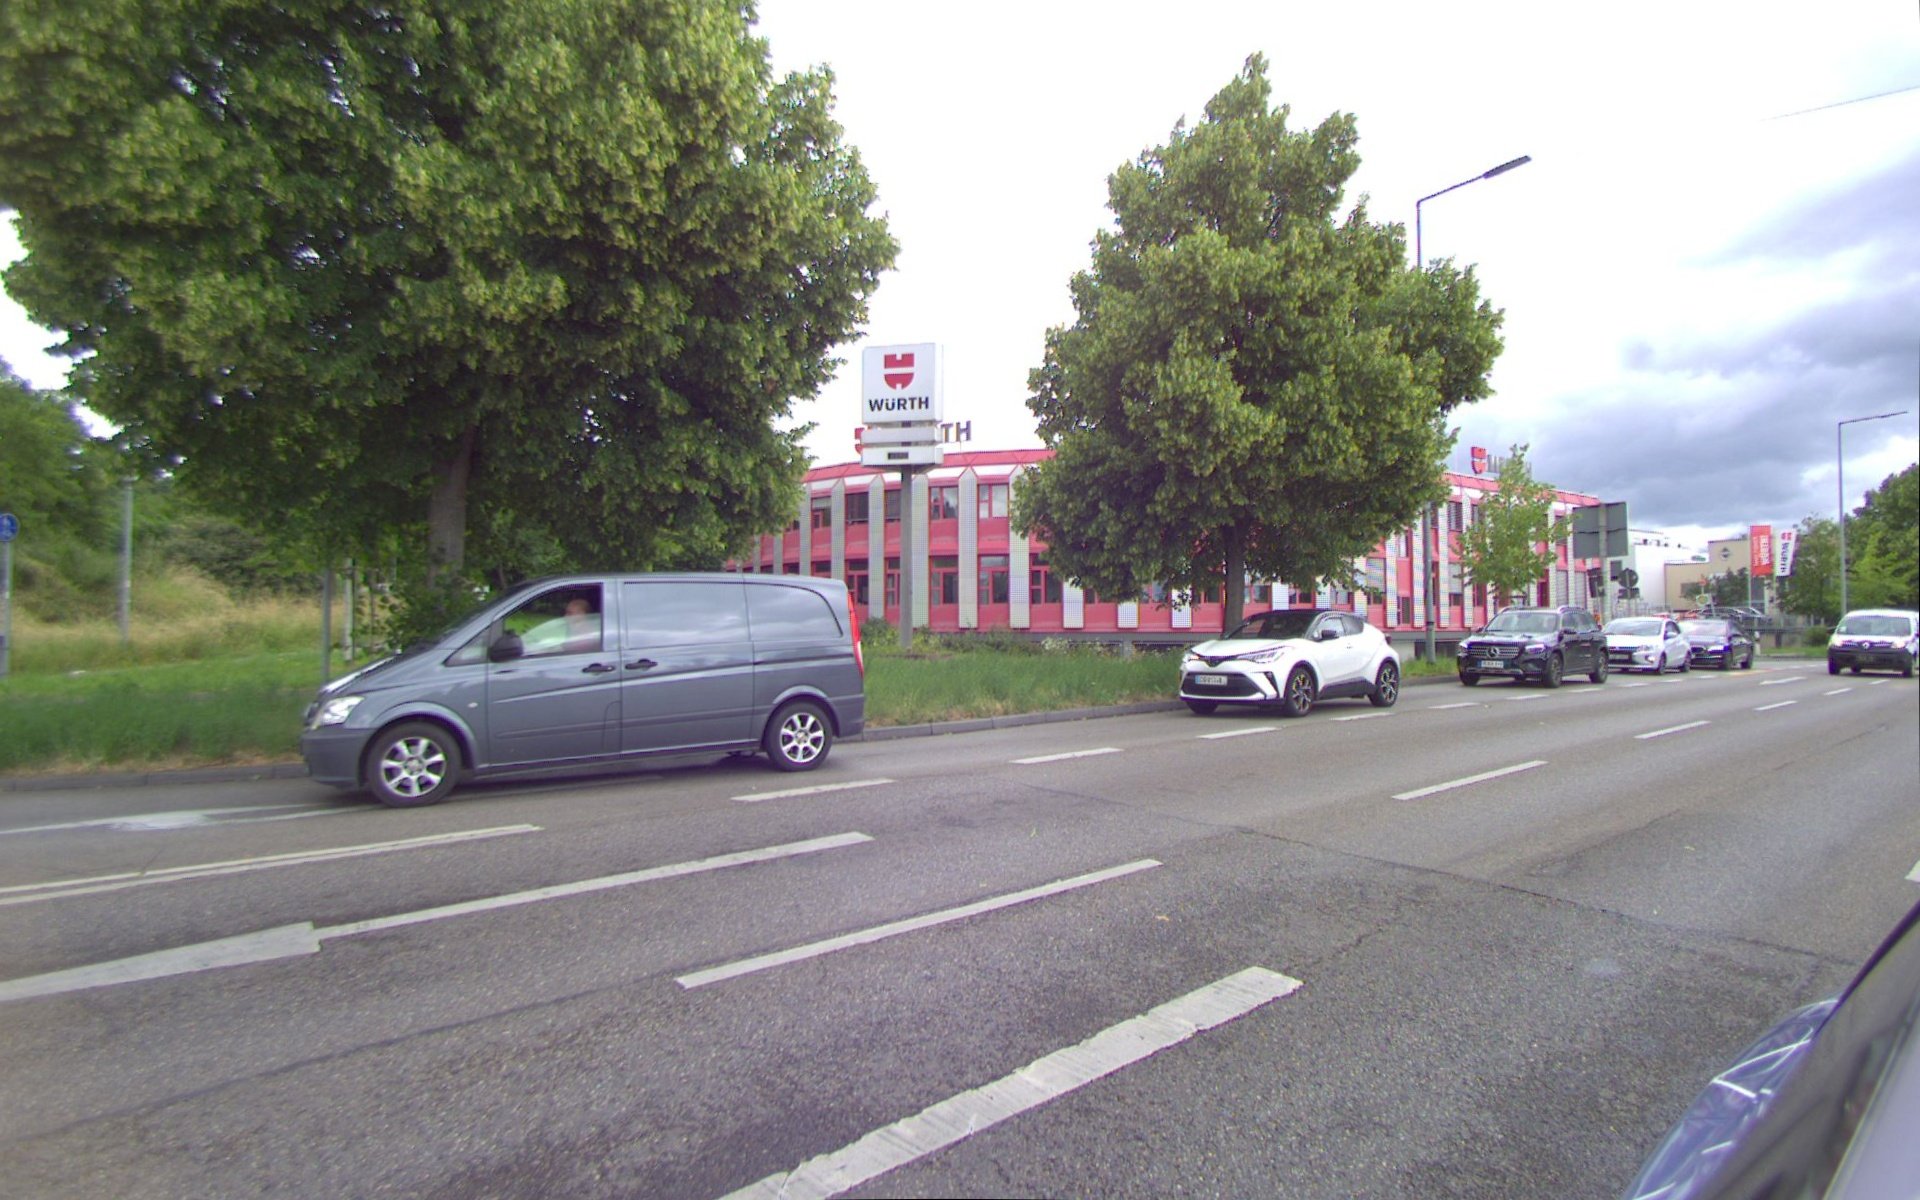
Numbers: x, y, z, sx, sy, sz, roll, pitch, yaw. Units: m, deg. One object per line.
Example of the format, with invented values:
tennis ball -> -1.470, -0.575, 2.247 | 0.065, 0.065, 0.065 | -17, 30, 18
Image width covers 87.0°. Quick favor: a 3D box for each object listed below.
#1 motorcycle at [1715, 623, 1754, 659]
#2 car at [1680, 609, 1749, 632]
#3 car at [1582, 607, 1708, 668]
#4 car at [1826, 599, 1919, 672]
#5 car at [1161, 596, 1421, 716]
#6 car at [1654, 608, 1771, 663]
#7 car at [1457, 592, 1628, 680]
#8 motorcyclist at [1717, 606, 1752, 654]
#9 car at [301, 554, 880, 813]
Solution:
motorcycle -> 25.156, 1.322, 32.864 | 1.911, 1.162, 0.748 | 2, -3, -45
car -> 61.803, 1.681, 82.953 | 1.752, 1.776, 4.247 | 0, 0, -39
car -> 18.180, 0.991, 26.811 | 3.766, 1.461, 1.784 | 3, -1, -40
car -> 25.692, 0.929, 27.874 | 4.751, 1.825, 1.999 | 1, 0, -39
car -> 5.085, 0.779, 15.270 | 4.230, 1.555, 1.783 | 0, -3, -41
car -> 22.208, 1.054, 29.810 | 4.446, 1.464, 1.784 | 3, -1, -40
car -> 12.471, 0.754, 21.563 | 4.346, 1.671, 1.784 | 3, -1, -40
motorcyclist -> 25.217, 0.980, 32.941 | 0.918, 1.510, 0.748 | 2, -3, -44
car -> -3.254, 0.628, 9.312 | 4.628, 1.858, 1.923 | 0, -3, -31
